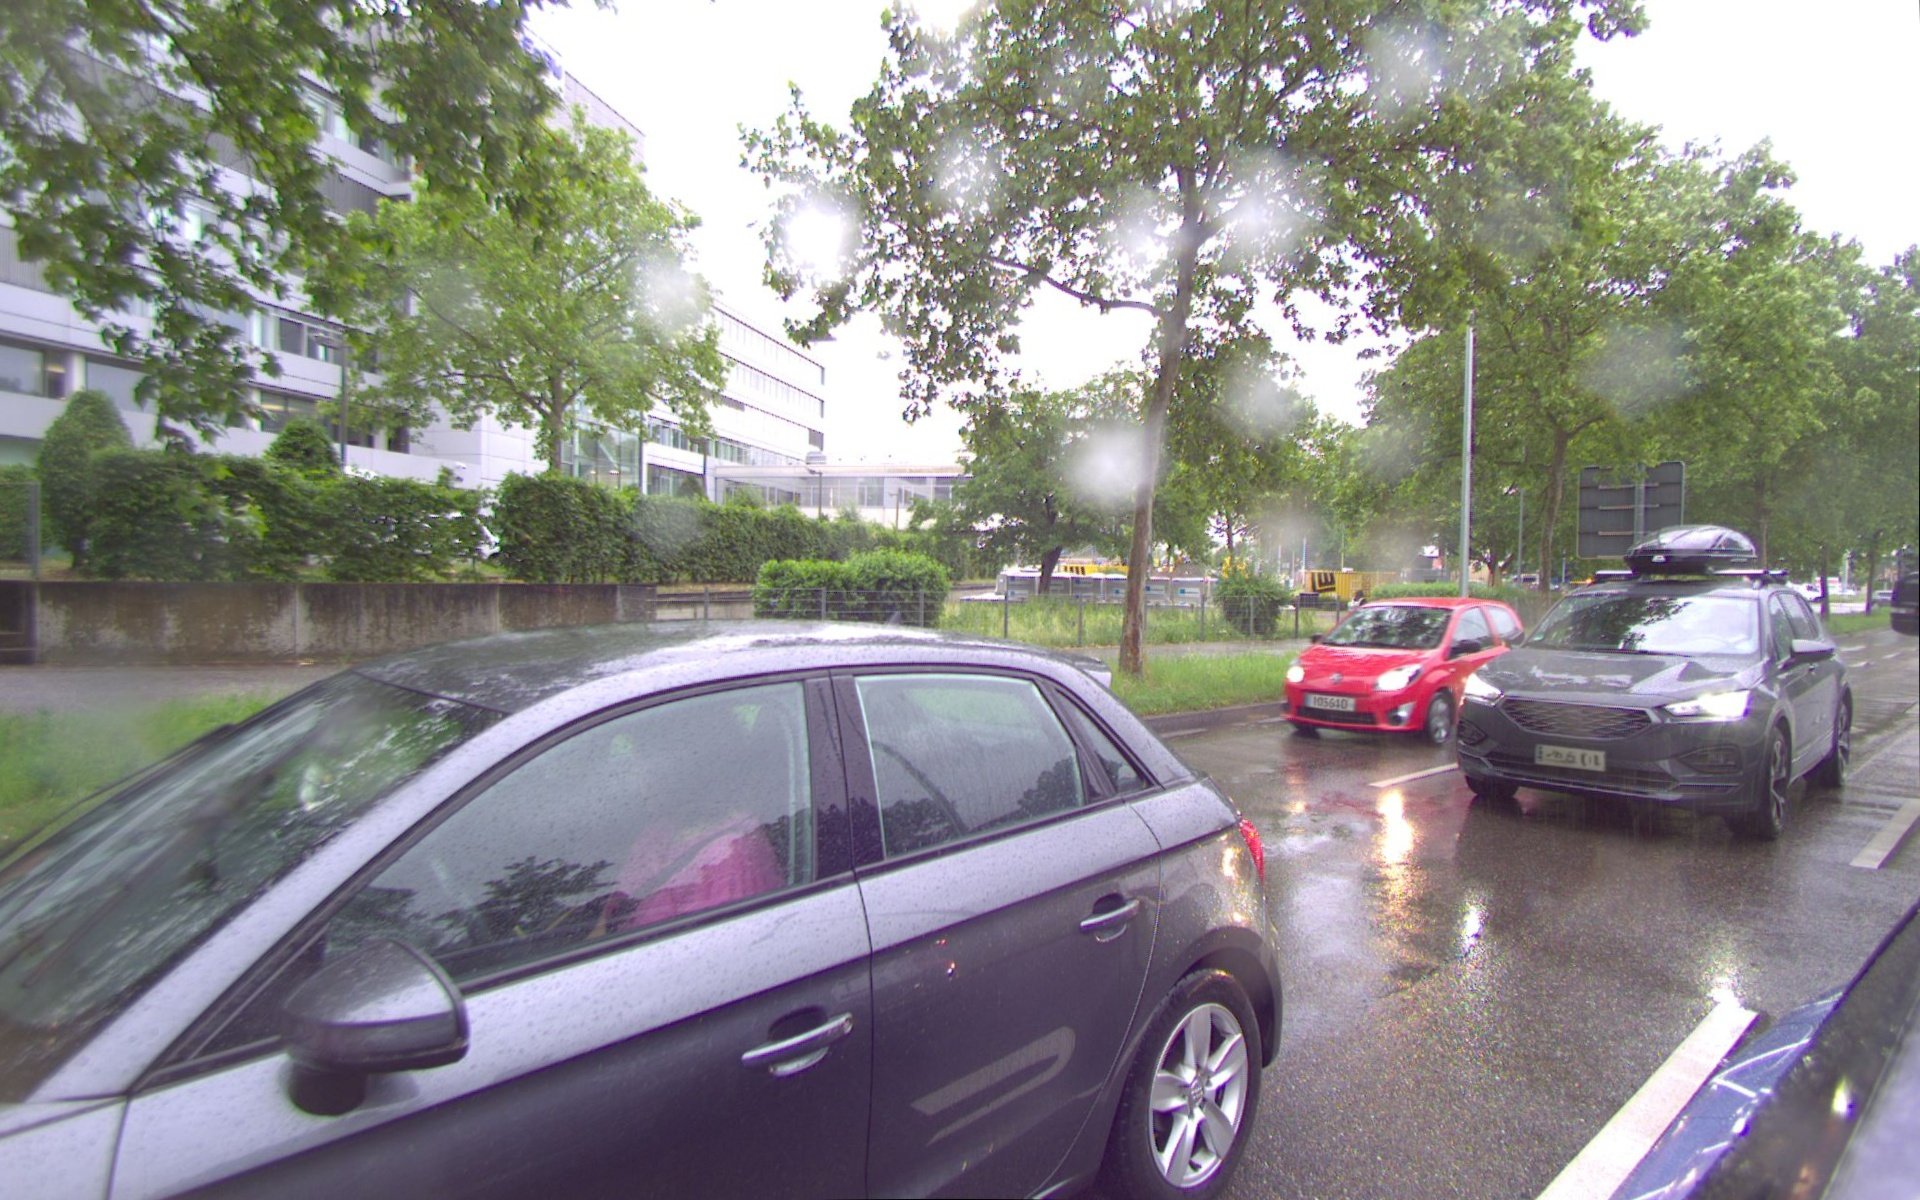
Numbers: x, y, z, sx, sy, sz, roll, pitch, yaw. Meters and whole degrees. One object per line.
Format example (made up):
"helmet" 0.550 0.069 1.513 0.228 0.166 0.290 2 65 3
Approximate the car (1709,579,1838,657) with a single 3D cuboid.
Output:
"car" 19.456 0.426 24.148 4.074 1.707 1.677 1 -1 -41

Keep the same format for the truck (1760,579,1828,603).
"truck" 85.202 -0.921 103.470 4.988 2.406 1.785 0 0 19

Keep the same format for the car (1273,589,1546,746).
"car" 5.085 0.628 11.291 3.331 1.481 1.571 0 0 -42

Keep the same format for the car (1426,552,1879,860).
"car" 5.509 0.566 7.813 4.347 1.719 1.892 0 1 -42

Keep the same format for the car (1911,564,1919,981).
"car" 6.331 0.177 4.960 5.599 2.544 2.024 0 1 -43

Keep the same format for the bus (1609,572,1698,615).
"bus" 43.734 -0.421 63.920 1.681 2.600 4.366 0 0 -41

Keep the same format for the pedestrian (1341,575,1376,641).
"pedestrian" 10.589 0.209 26.895 0.645 1.738 0.645 0 0 -40

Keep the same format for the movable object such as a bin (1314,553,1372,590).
"movable object such as a bin" 36.269 -2.672 95.964 4.858 3.478 1.913 0 0 10

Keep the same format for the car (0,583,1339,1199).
"car" -0.936 0.699 2.113 3.715 1.446 1.679 0 1 -41
